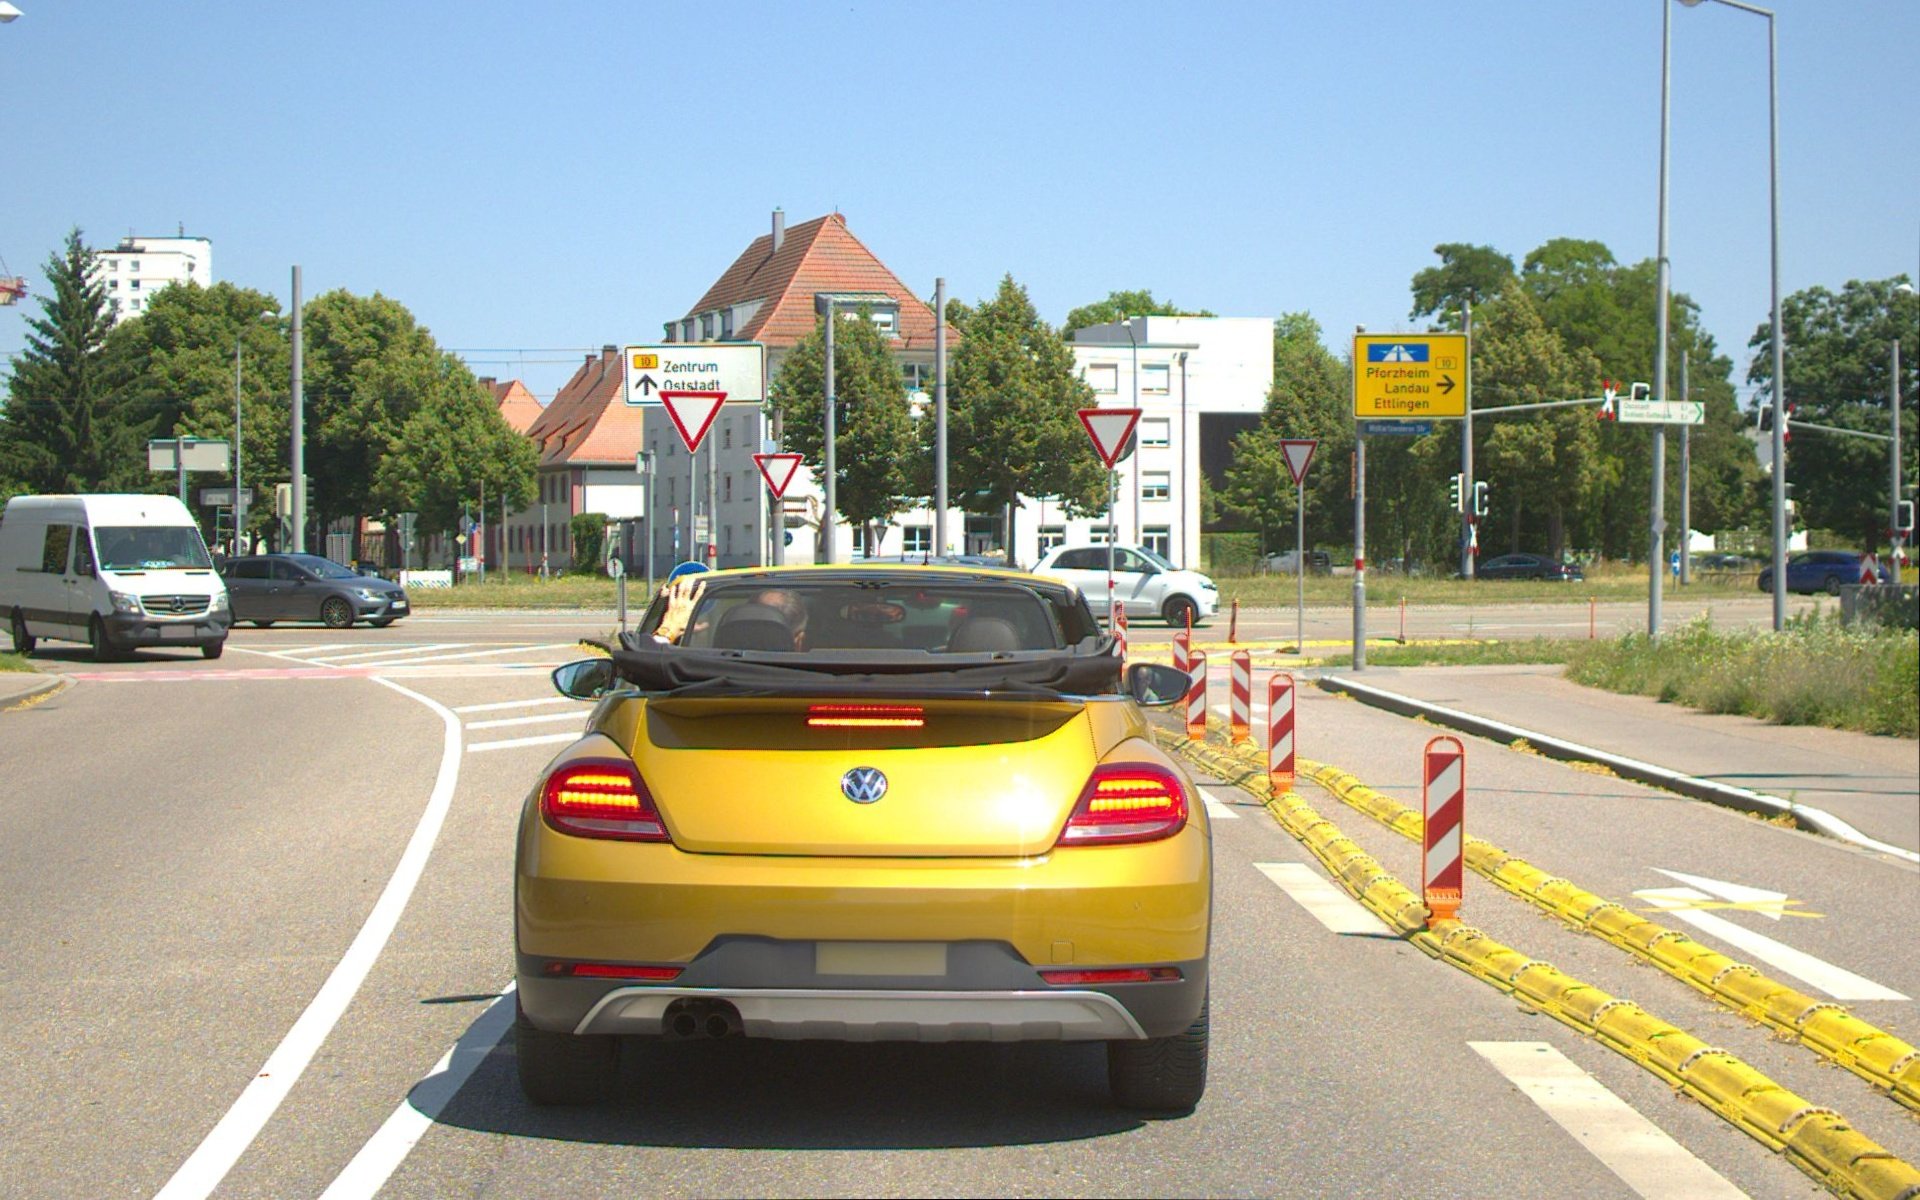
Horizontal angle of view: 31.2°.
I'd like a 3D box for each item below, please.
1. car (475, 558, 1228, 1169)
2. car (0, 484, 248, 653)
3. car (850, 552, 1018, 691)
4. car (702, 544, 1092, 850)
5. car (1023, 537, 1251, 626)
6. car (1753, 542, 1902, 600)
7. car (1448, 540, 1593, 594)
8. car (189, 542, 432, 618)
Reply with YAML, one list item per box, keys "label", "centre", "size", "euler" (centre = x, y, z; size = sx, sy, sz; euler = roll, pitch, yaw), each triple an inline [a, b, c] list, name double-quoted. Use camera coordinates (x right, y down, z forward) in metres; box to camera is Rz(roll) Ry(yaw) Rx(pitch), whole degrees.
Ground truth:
- label: "car"
  centre: [-0.277, 0.602, 9.984]
  size: [1.752, 1.417, 3.777]
  euler: [1, 1, -1]
- label: "car"
  centre: [-13.568, -0.500, 54.996]
  size: [2.020, 2.530, 6.828]
  euler: [-1, 1, -32]
- label: "car"
  centre: [-0.286, 0.205, 37.986]
  size: [1.736, 1.437, 4.000]
  euler: [1, 1, 0]
- label: "car"
  centre: [-0.315, 0.443, 18.442]
  size: [1.848, 1.437, 4.000]
  euler: [1, 1, 0]
- label: "car"
  centre: [3.263, -0.351, 63.050]
  size: [3.988, 1.547, 1.740]
  euler: [1, 0, 9]
- label: "car"
  centre: [27.667, -0.931, 109.797]
  size: [2.019, 1.780, 4.933]
  euler: [-1, 1, -23]
- label: "car"
  centre: [19.278, -1.130, 118.357]
  size: [2.020, 1.780, 4.931]
  euler: [-1, 1, -35]
- label: "car"
  centre: [-12.520, -0.391, 66.368]
  size: [4.196, 1.386, 1.900]
  euler: [1, 1, 15]
